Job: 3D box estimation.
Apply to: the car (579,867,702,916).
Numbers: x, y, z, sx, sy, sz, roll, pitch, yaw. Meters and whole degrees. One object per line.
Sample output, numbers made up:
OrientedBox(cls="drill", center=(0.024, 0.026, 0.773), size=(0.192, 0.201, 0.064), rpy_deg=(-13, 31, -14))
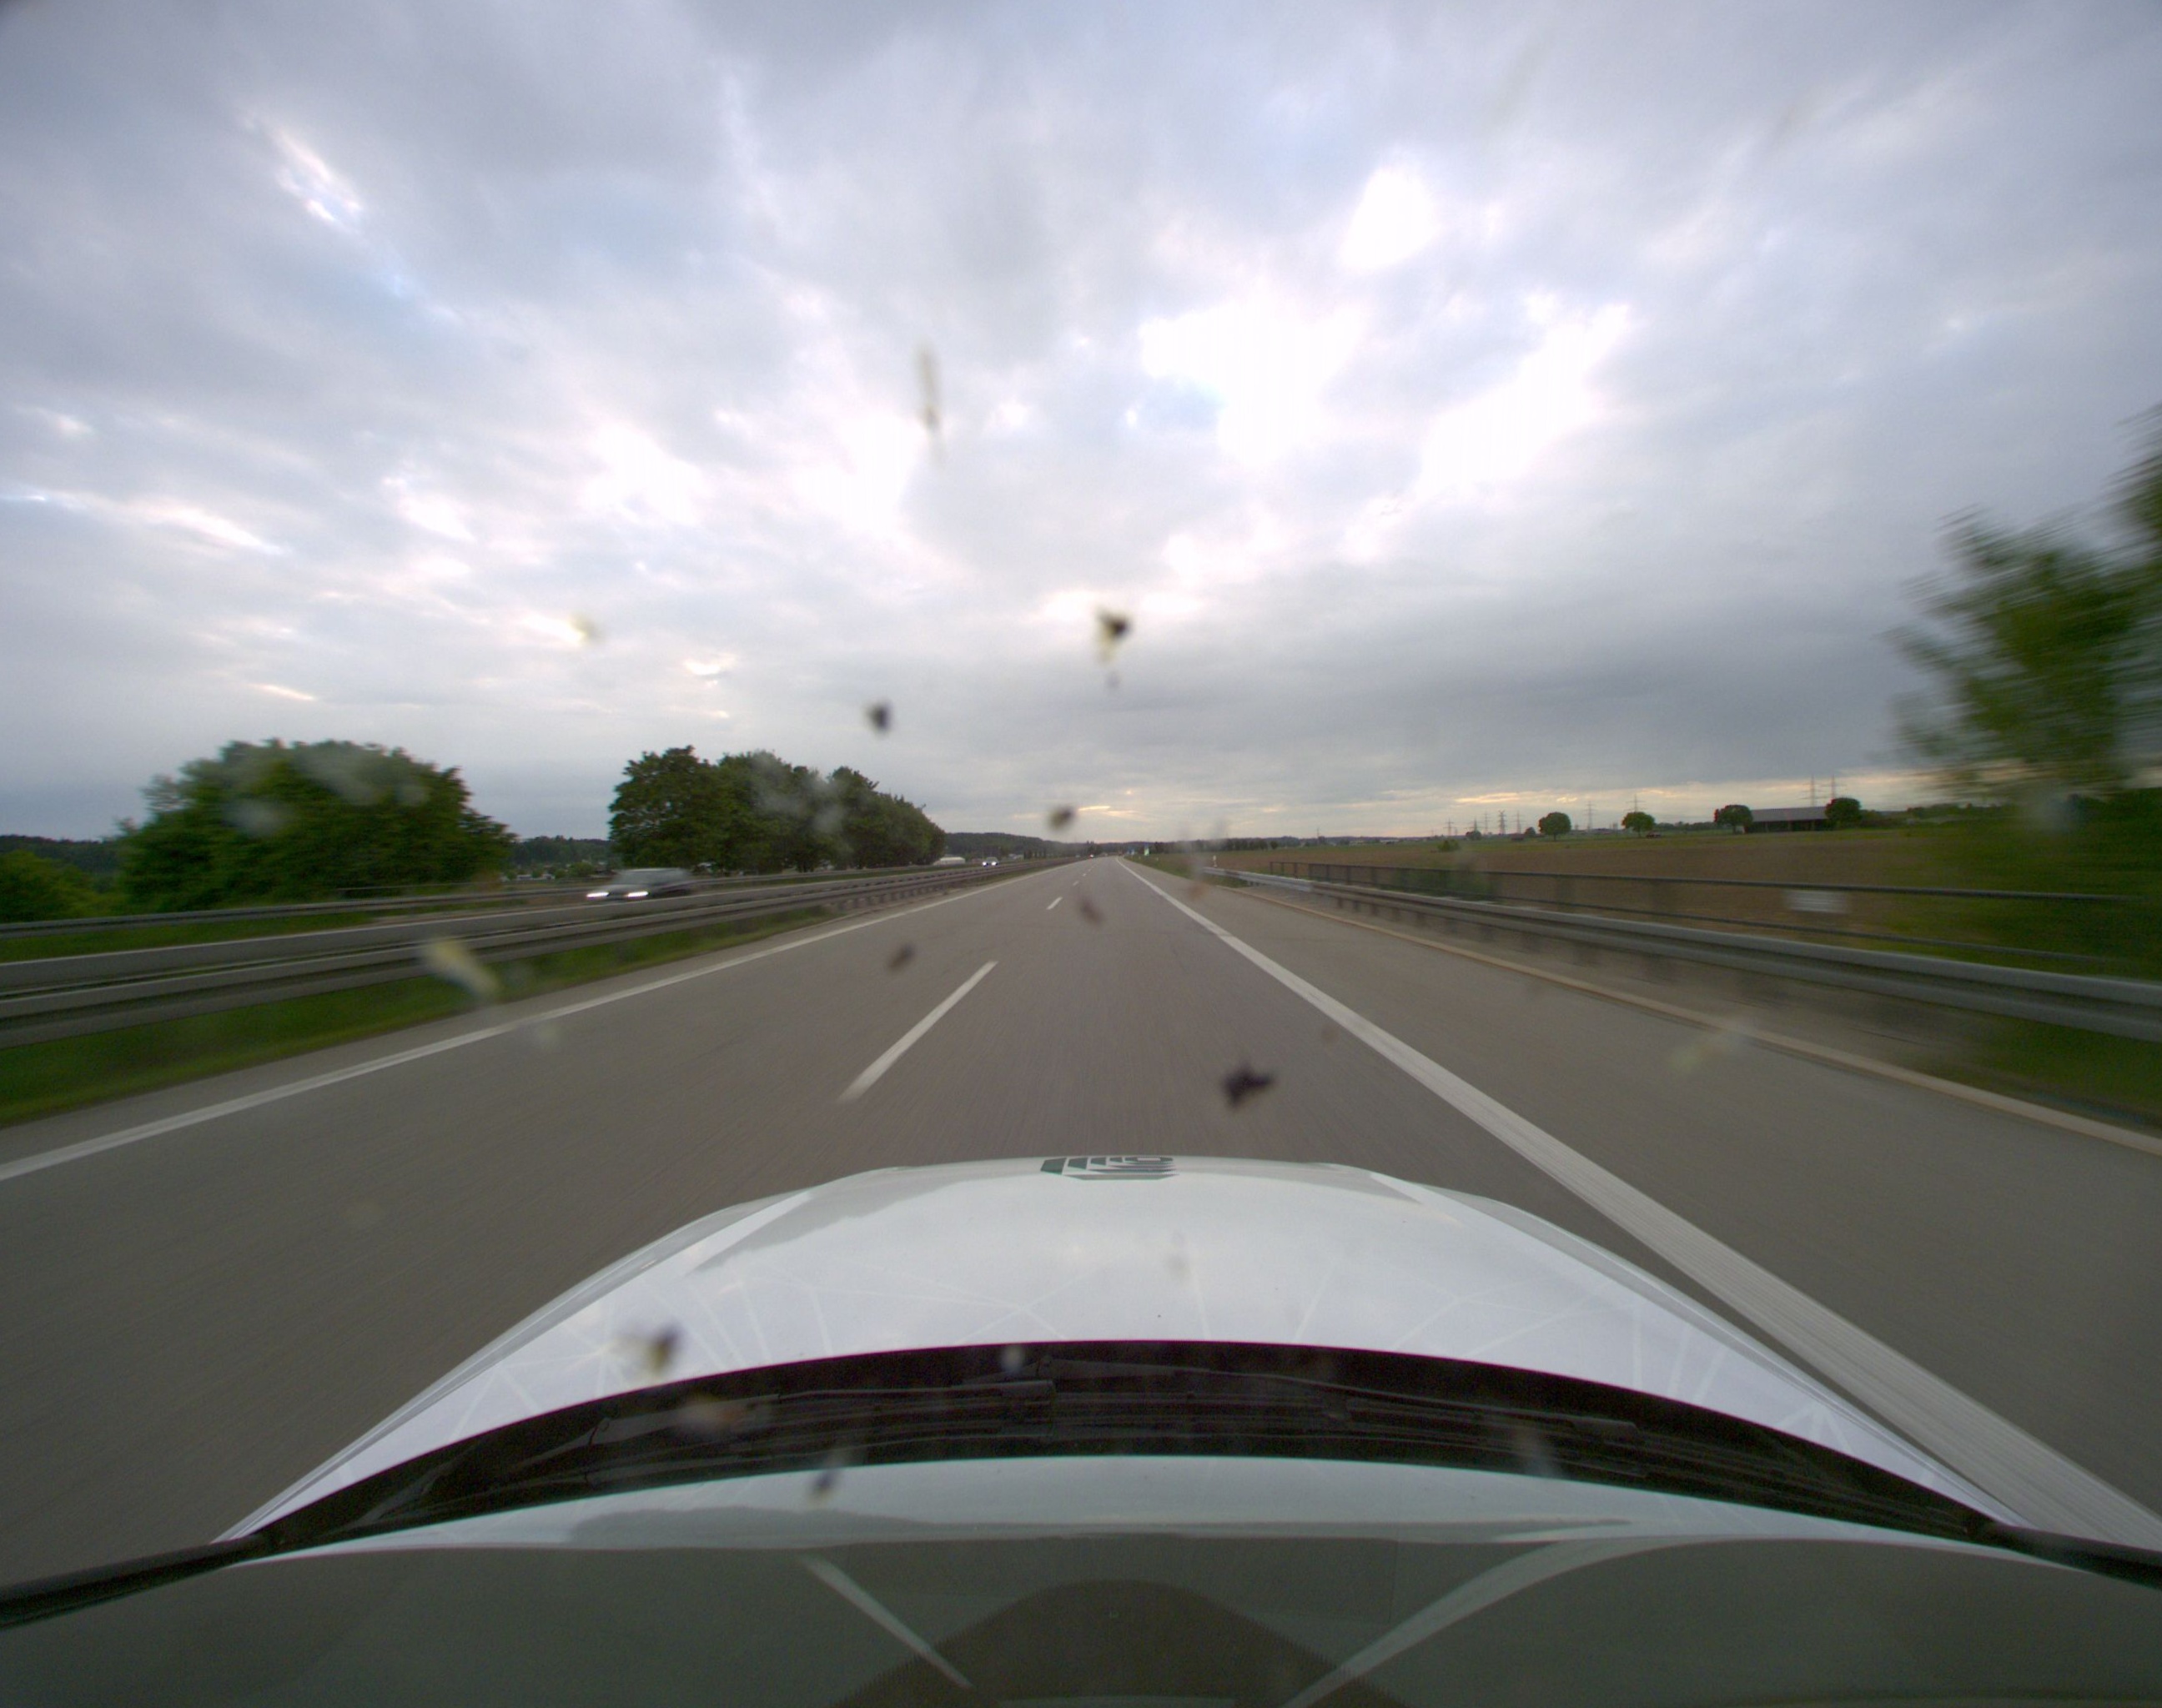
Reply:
OrientedBox(cls="car", center=(-15.698, 1.275, 29.335), size=(1.811, 1.562, 4.525), rpy_deg=(1, -1, 1))

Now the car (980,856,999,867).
OrientedBox(cls="car", center=(-13.083, 1.056, 116.496), size=(1.986, 1.582, 4.811), rpy_deg=(0, 0, 2))
